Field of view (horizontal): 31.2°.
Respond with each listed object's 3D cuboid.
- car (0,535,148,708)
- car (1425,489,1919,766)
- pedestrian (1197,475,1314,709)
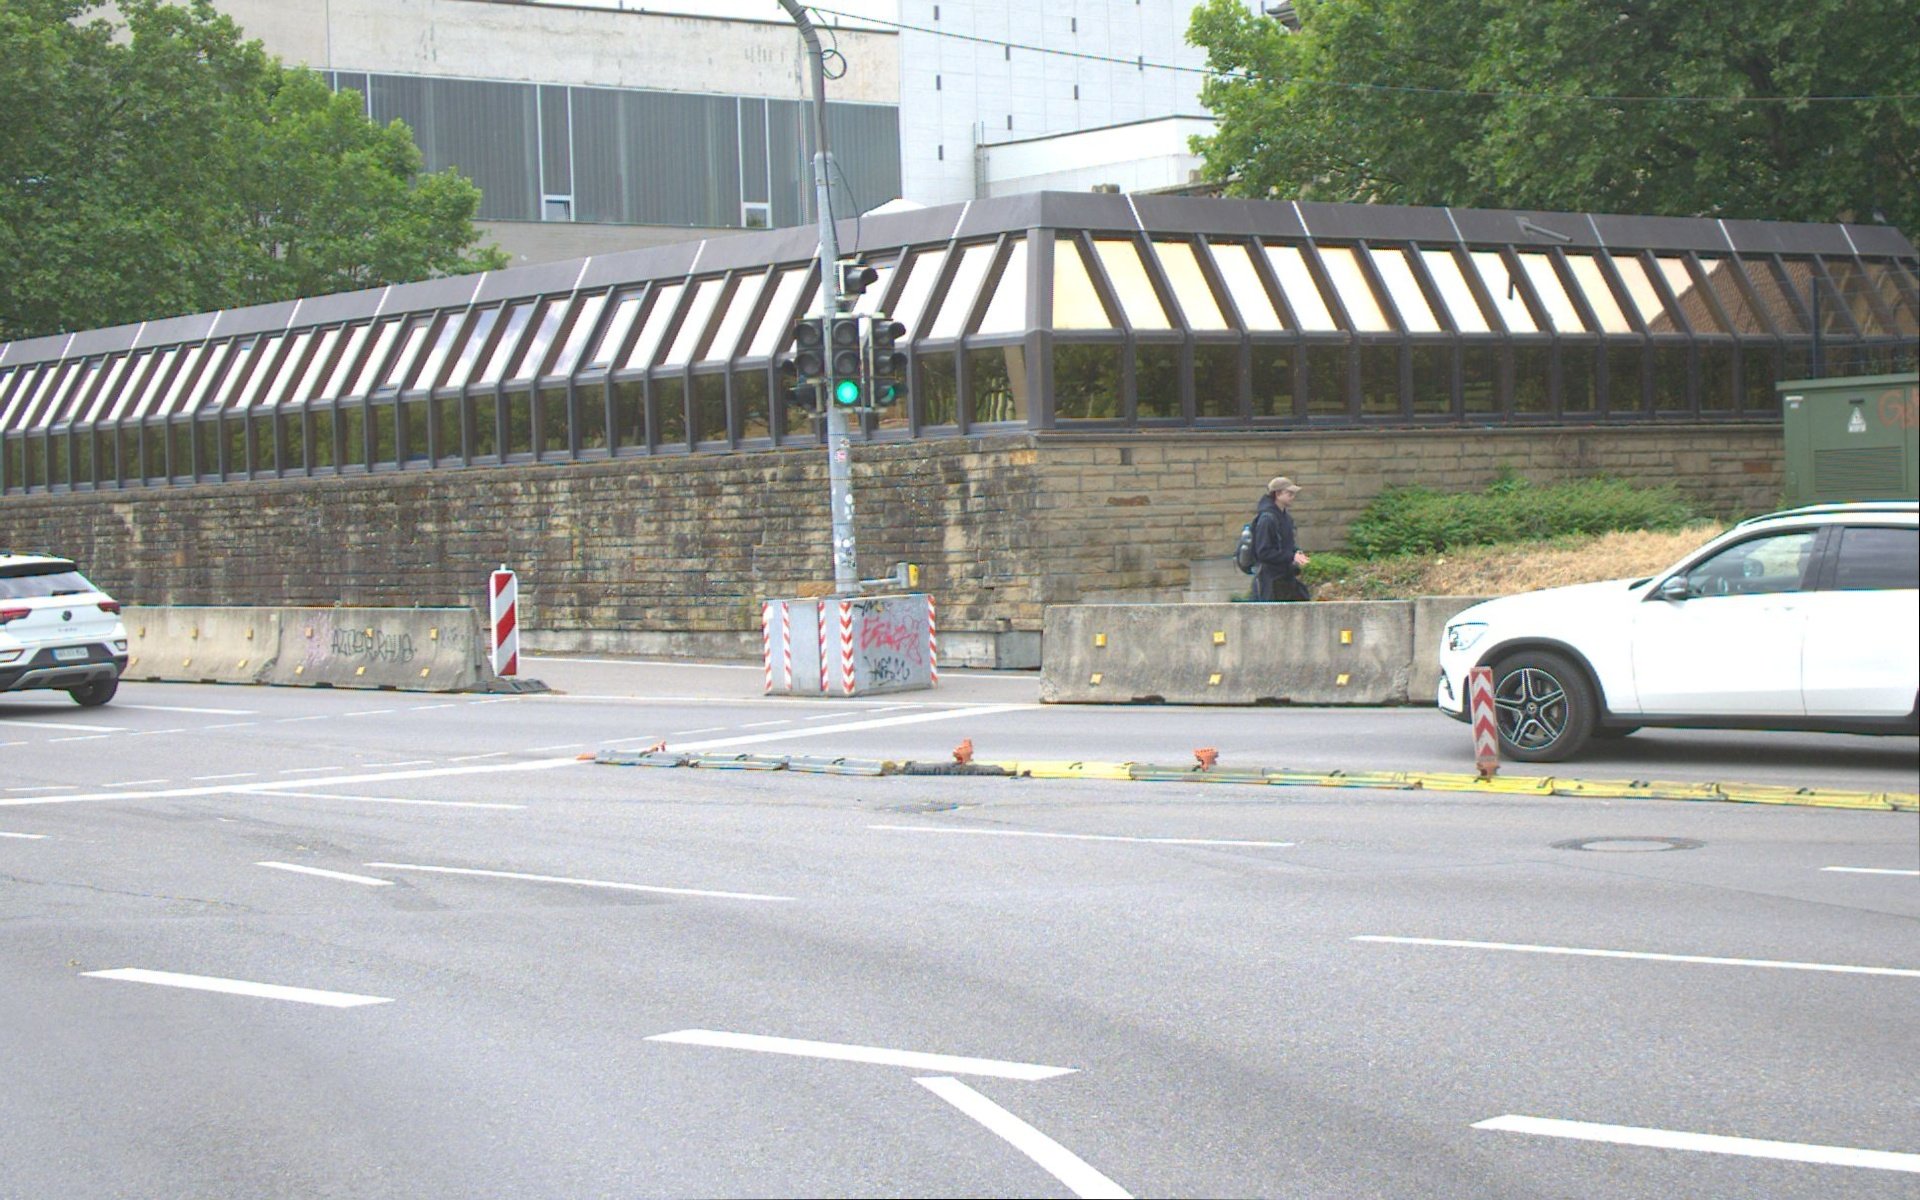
[{"bbox_3d":[-10.287,0.217,34.703,4.327,1.562,1.752,-1,3,40],"label":"car"},{"bbox_3d":[5.460,0.135,22.129,4.543,1.637,1.815,1,4,26],"label":"car"},{"bbox_3d":[2.579,-0.066,29.952,0.849,2.007,0.622,-1,0,19],"label":"pedestrian"}]
